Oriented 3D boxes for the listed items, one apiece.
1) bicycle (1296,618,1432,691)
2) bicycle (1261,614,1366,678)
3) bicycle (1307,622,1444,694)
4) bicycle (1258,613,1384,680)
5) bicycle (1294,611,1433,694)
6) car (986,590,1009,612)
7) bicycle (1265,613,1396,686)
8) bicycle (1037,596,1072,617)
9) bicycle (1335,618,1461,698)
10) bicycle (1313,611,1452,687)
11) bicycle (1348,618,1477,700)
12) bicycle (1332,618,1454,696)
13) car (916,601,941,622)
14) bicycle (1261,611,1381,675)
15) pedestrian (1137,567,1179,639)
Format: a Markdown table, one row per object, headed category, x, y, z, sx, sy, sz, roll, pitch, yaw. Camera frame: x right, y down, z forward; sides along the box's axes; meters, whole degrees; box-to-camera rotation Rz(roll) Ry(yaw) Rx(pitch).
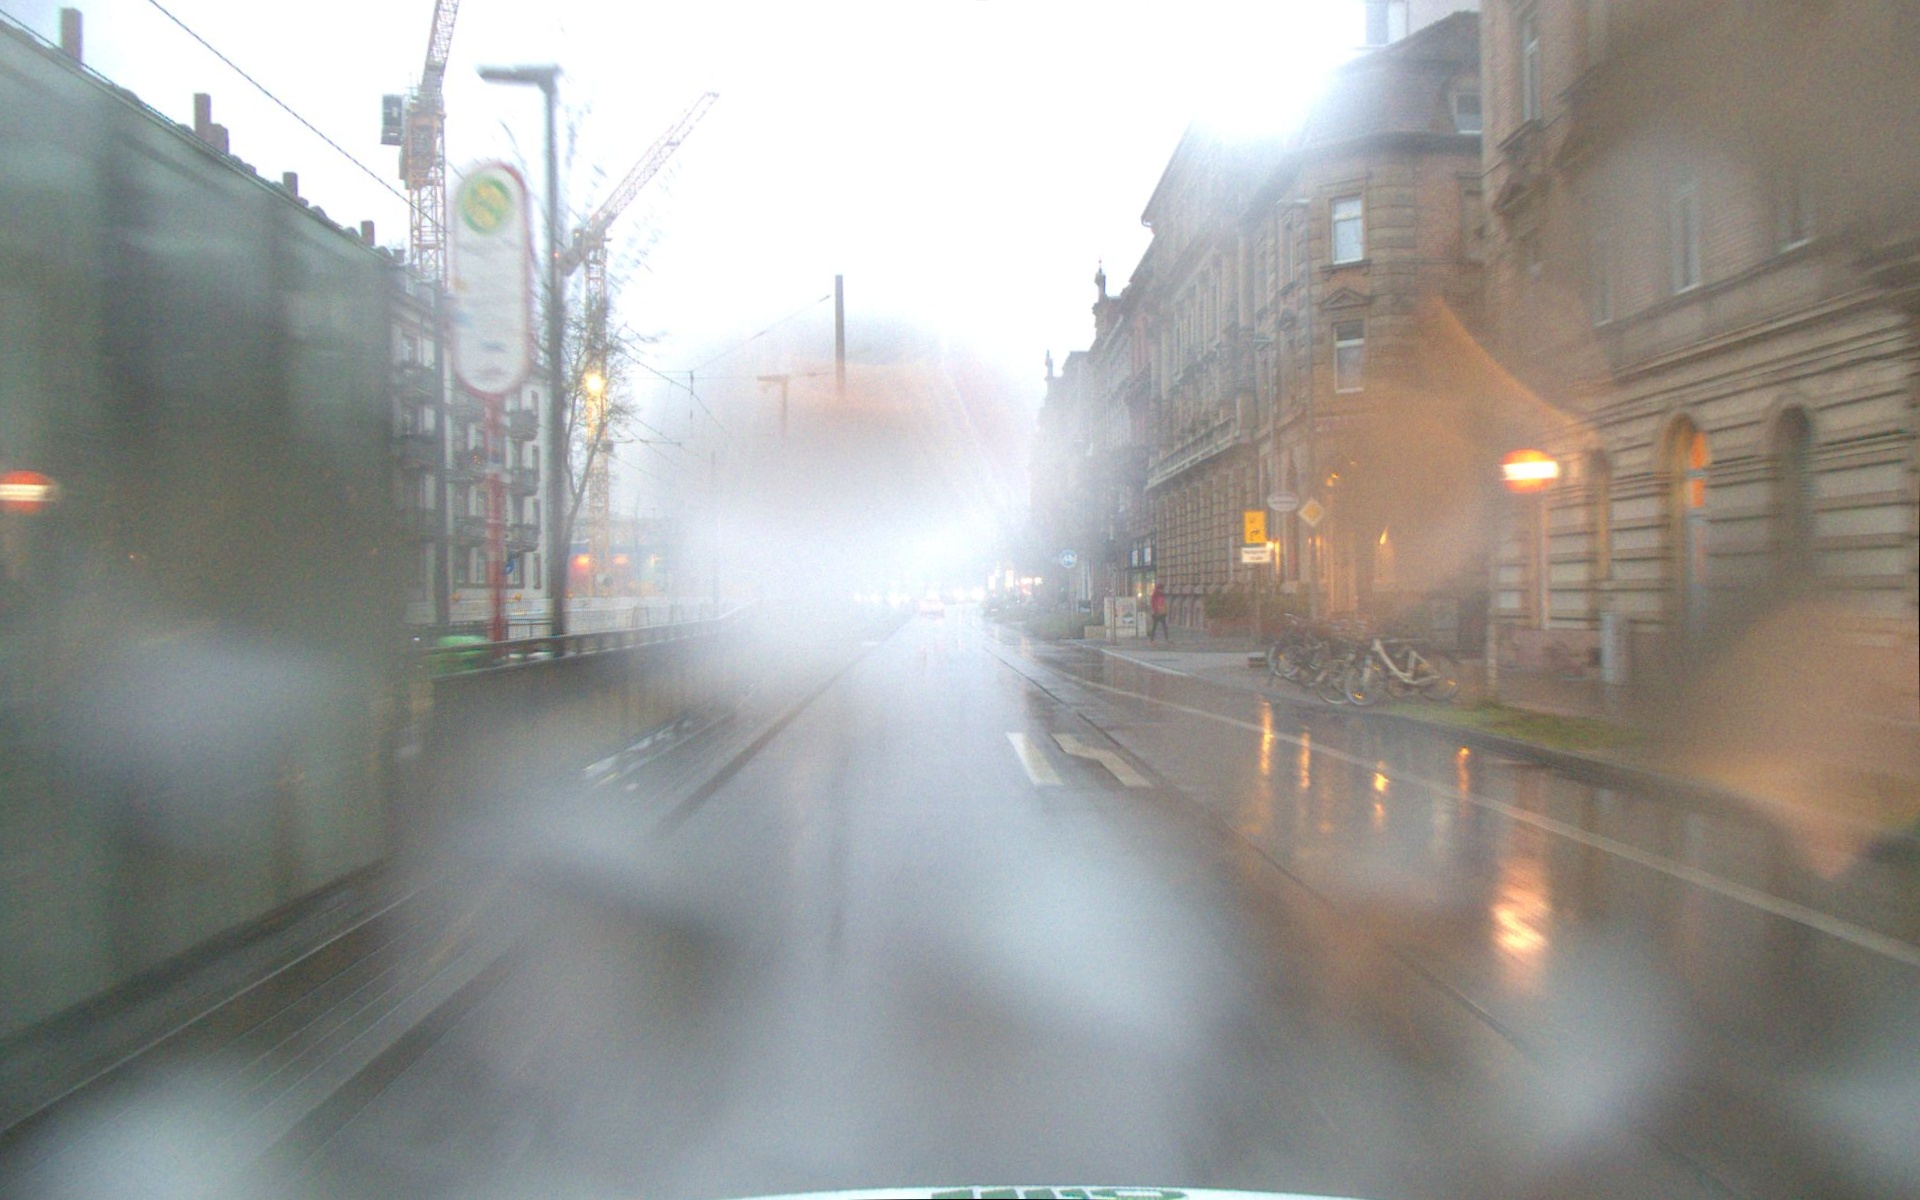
| category | x | y | z | sx | sy | sz | roll | pitch | yaw |
| --- | --- | --- | --- | --- | --- | --- | --- | --- | --- |
| bicycle | 6.295 | 0.841 | 25.802 | 1.968 | 0.988 | 0.425 | -4 | 0 | -2 |
| bicycle | 6.609 | 0.848 | 30.869 | 2.063 | 1.070 | 0.474 | -2 | 0 | -28 |
| bicycle | 6.824 | 0.943 | 27.187 | 2.101 | 1.073 | 0.484 | -2 | 0 | -2 |
| bicycle | 6.268 | 0.799 | 28.763 | 2.046 | 1.070 | 0.478 | -2 | 0 | -3 |
| bicycle | 6.154 | 0.799 | 25.277 | 1.968 | 1.114 | 0.425 | -4 | 0 | -2 |
| car | 3.004 | 0.077 | 131.310 | 1.762 | 1.632 | 3.770 | -1 | 0 | 1 |
| bicycle | 6.314 | 0.839 | 28.236 | 2.101 | 1.073 | 0.425 | -4 | 1 | -2 |
| bicycle | 5.091 | 0.363 | 88.965 | 1.814 | 1.077 | 0.471 | -1 | 0 | -4 |
| bicycle | 6.307 | 0.833 | 23.837 | 1.695 | 1.073 | 0.371 | -2 | 0 | -2 |
| bicycle | 6.799 | 0.778 | 26.630 | 2.101 | 1.073 | 0.425 | -3 | 1 | -2 |
| bicycle | 6.375 | 0.832 | 23.337 | 1.695 | 1.073 | 0.371 | -2 | 0 | -2 |
| bicycle | 6.415 | 0.838 | 24.522 | 1.695 | 1.073 | 0.371 | -2 | 0 | -2 |
| car | -2.333 | 0.824 | 122.452 | 1.747 | 1.492 | 3.149 | -1 | 0 | 1 |
| bicycle | 6.549 | 0.772 | 30.040 | 2.046 | 1.070 | 0.478 | -2 | 0 | -3 |
| pedestrian | 5.719 | 0.089 | 47.790 | 0.844 | 2.049 | 0.909 | -1 | 0 | -31 |
